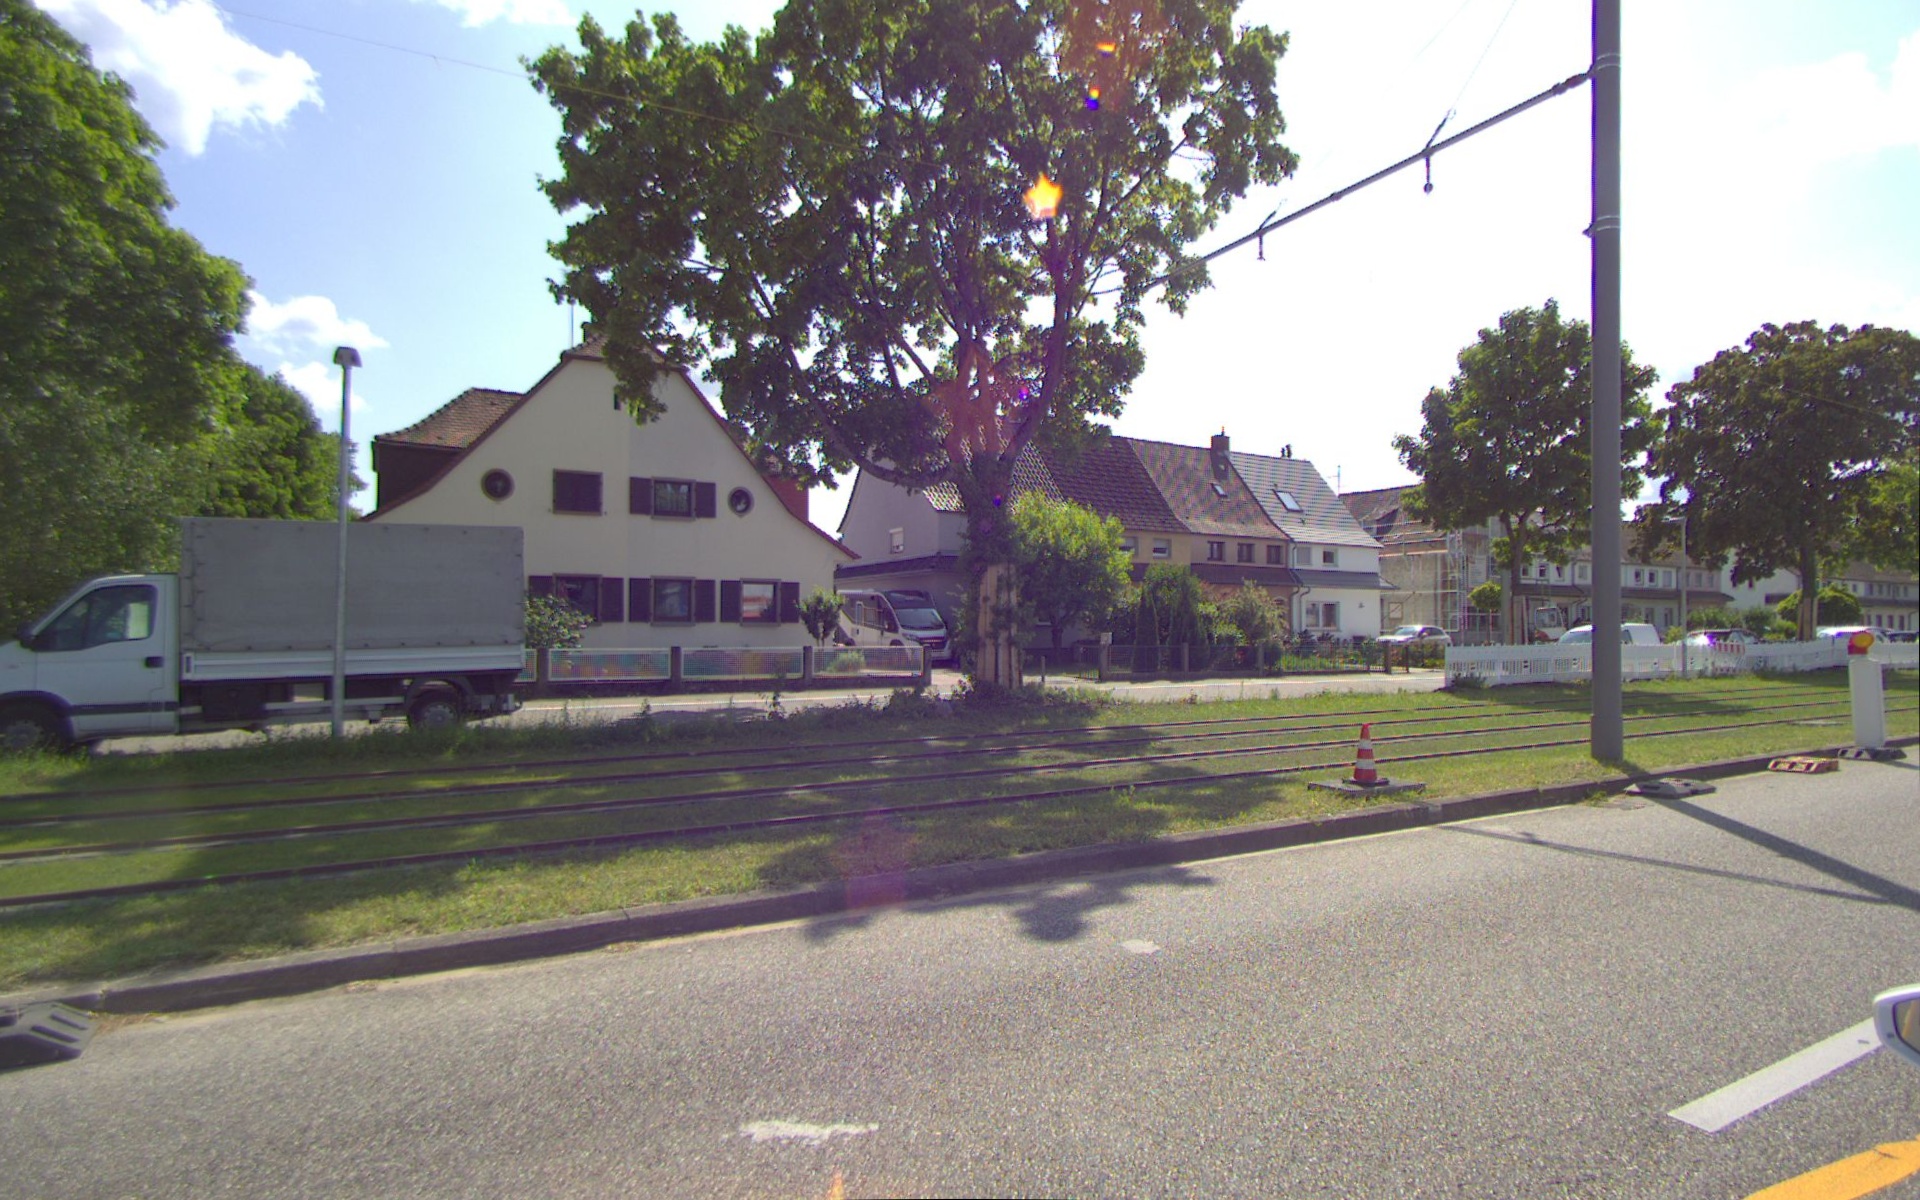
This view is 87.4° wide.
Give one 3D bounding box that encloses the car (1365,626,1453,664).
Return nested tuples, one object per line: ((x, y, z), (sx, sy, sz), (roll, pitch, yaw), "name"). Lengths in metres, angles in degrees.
((19.889, 1.985, 44.479), (3.814, 1.614, 1.691), (1, -2, -30), "car")

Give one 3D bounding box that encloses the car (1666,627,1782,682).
((25.746, 1.792, 33.826), (4.006, 1.762, 1.691), (1, -2, -30), "car")

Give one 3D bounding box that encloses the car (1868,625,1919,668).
((40.389, 1.952, 42.599), (3.814, 1.762, 1.691), (1, -2, -30), "car")

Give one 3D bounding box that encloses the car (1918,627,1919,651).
((72.137, 2.836, 73.665), (4.013, 1.762, 1.691), (1, -2, -30), "car")

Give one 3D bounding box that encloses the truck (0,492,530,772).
((-8.798, 0.408, 12.934), (5.805, 3.027, 1.994), (1, -2, -30), "truck")

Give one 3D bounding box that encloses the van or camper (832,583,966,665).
((-2.350, 0.900, 36.650), (2.224, 2.745, 5.963), (1, -2, -33), "van or camper")

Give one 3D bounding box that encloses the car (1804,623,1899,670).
((34.976, 1.794, 39.393), (3.814, 1.762, 1.691), (1, -2, -30), "car")

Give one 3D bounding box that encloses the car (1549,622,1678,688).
((19.501, 1.597, 29.959), (3.814, 1.841, 1.691), (1, -2, -30), "car")
